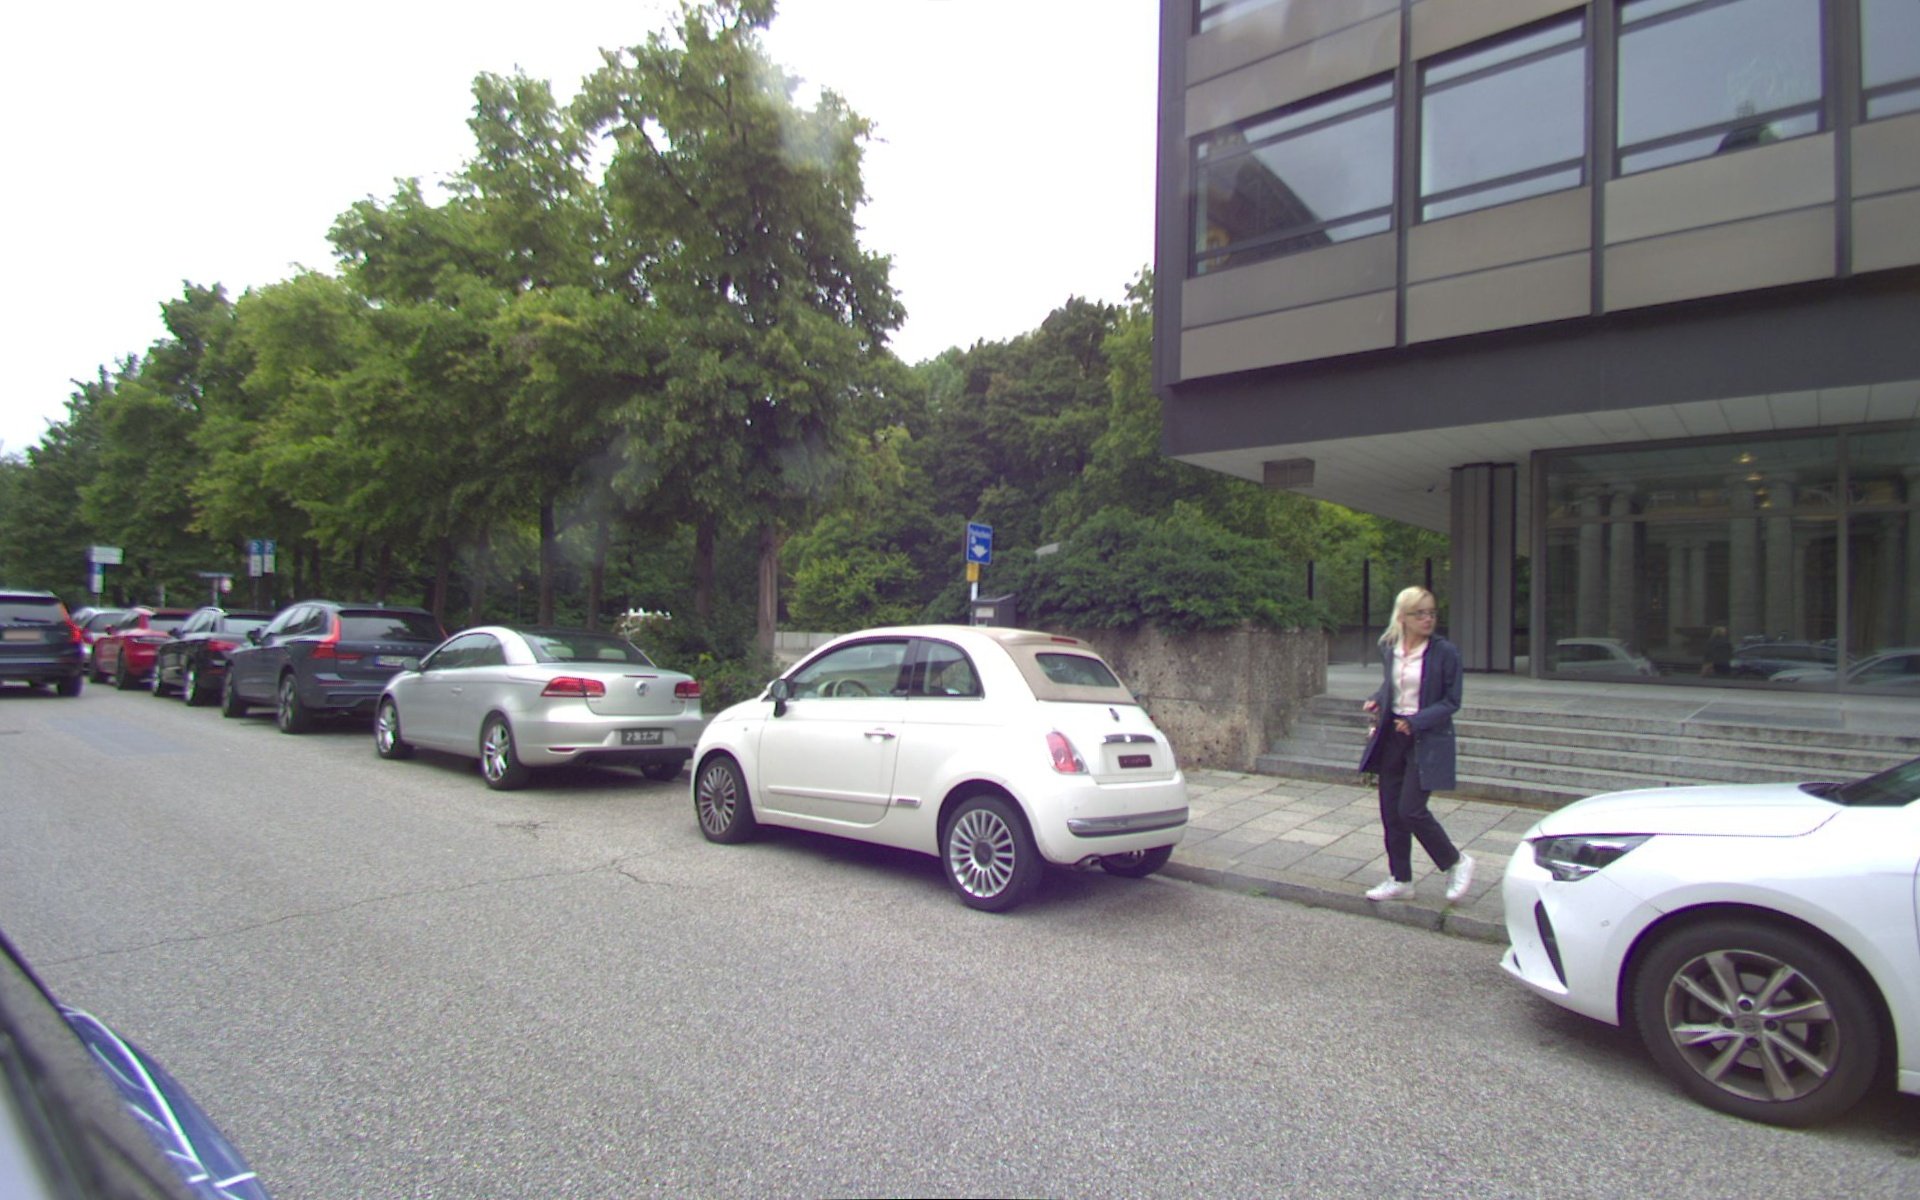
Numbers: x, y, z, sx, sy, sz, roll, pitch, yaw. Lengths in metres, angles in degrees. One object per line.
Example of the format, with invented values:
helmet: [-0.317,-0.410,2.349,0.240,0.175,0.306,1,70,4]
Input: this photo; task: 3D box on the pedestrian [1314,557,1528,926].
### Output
pedestrian: [2.465,0.710,5.411,0.878,1.765,0.692,5,-5,-35]

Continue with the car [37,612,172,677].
car: [-21.301,1.062,25.152,4.363,1.472,1.972,-1,-3,42]

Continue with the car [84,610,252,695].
car: [-16.269,1.018,20.713,4.363,1.555,1.972,-1,-3,42]

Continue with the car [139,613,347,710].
car: [-12.578,0.990,17.636,4.646,1.472,1.972,-1,-3,42]

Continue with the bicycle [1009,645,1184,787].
bicycle: [1.263,1.041,9.533,1.526,1.173,0.636,-1,0,40]

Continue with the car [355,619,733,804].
car: [-4.205,0.957,9.889,4.217,1.411,1.739,-1,-5,43]

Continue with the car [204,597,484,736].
car: [-8.556,0.828,13.895,4.520,1.595,1.973,-1,-3,41]

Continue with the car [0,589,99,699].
car: [-16.635,0.707,17.402,4.908,1.694,1.940,0,-3,40]

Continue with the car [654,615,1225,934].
car: [-0.287,0.878,6.515,3.551,1.482,1.527,-1,-4,41]

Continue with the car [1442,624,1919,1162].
car: [3.867,0.864,2.808,4.278,1.451,1.663,0,-5,42]
